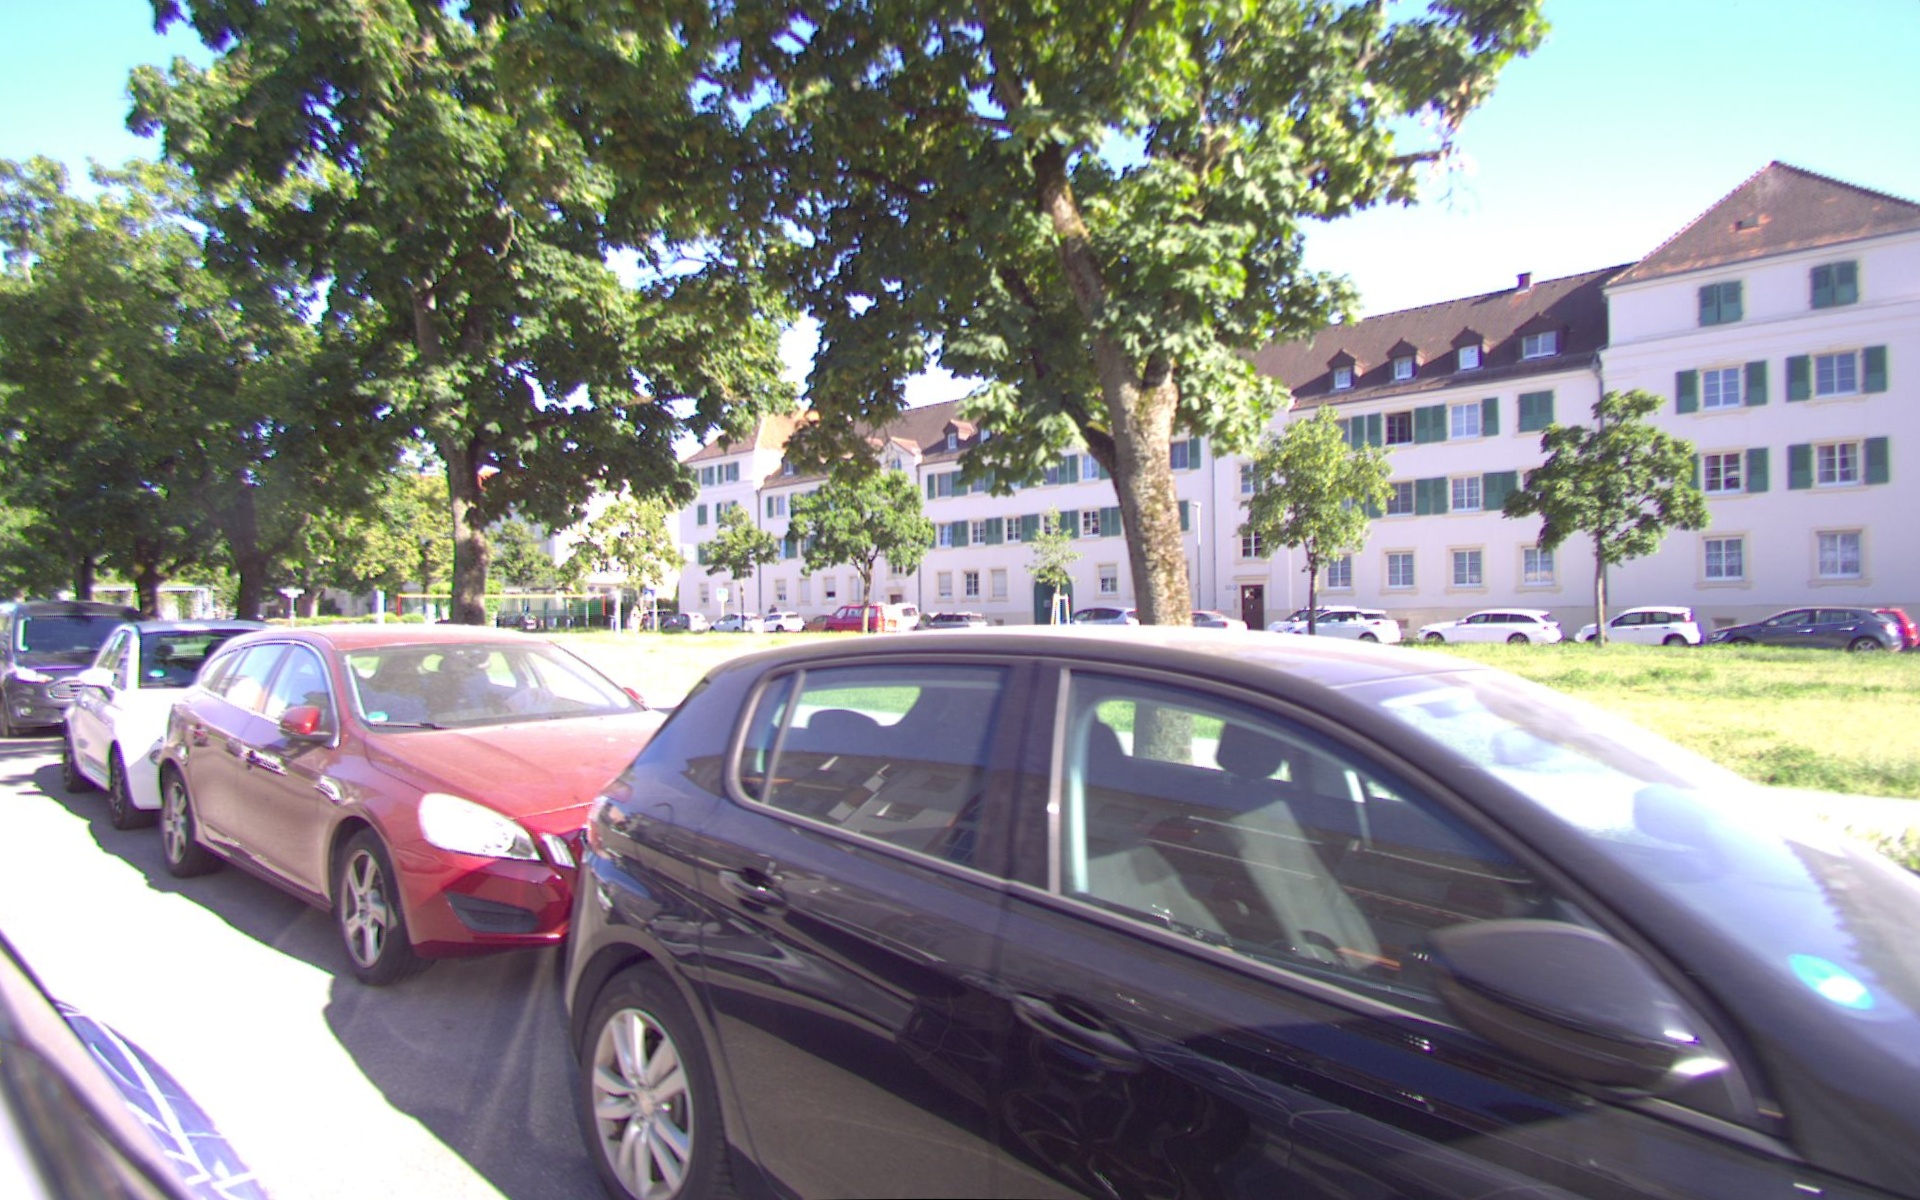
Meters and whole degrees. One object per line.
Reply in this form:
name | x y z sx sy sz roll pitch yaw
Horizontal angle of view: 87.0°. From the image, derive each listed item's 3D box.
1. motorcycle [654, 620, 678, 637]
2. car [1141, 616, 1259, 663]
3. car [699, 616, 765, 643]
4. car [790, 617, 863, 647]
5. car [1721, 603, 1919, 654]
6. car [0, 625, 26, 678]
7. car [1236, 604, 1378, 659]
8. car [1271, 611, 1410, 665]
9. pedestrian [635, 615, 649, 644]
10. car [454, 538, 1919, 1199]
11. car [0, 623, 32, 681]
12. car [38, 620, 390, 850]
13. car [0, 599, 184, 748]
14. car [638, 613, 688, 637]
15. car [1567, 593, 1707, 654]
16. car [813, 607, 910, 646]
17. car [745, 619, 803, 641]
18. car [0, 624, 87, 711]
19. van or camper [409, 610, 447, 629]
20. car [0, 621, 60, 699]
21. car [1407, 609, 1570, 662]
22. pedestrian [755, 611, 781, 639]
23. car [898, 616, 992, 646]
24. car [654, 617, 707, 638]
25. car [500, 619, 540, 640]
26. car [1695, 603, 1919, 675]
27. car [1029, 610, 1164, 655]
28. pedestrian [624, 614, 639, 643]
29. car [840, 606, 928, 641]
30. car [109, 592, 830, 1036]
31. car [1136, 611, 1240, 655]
motorcycle | -23.801 2.300 81.987 2.143 1.315 0.807 -1 -1 41
car | 9.651 1.556 40.786 4.009 1.763 2.292 -2 -1 43
car | -13.895 1.786 61.681 4.233 1.595 1.770 -1 -1 41
car | -8.504 2.025 64.267 4.641 1.777 1.973 -1 -1 40
car | 27.337 0.895 32.094 4.956 1.496 1.972 -1 -2 41
car | -29.732 1.517 30.255 5.153 1.528 1.973 -1 -2 40
car | 14.921 1.332 43.647 5.254 2.233 2.505 -1 -1 40
car | 13.872 1.338 36.987 4.254 1.834 2.213 -1 -1 40
pedestrian | -18.813 1.743 59.876 0.537 1.698 0.674 0 -1 -43
car | 0.859 0.757 2.112 4.468 1.531 1.854 -1 -3 41
car | -26.040 1.350 26.789 3.804 1.429 1.859 0 -1 43
car | -6.344 0.944 8.472 3.683 1.504 1.570 -1 -3 41
car | -12.790 0.903 14.478 4.990 1.798 1.844 -1 -1 42
car | -26.380 2.209 89.964 2.043 1.970 3.761 -2 -1 44
car | 23.673 0.802 35.466 3.896 2.029 1.648 -1 -1 42
car | -5.334 1.395 54.358 5.256 1.999 2.197 -1 -1 42
car | -12.468 1.999 67.785 3.998 1.366 1.750 -2 -1 41
car | -17.297 1.177 18.562 4.087 1.439 1.521 -1 -1 43
van or camper | -56.408 2.057 107.339 4.374 2.029 2.243 -1 0 43
car | -21.904 1.308 22.811 4.757 1.638 2.003 -1 -2 43
car | 20.136 1.320 38.713 5.157 1.900 2.131 -1 -1 42
pedestrian | -13.656 1.796 71.991 1.161 1.978 1.327 -1 -1 36
car | -0.834 1.636 53.491 4.956 1.496 1.972 -1 -2 41
car | -17.982 1.773 65.131 3.513 1.343 1.633 -1 -1 41
car | -40.345 2.687 92.725 4.000 1.807 1.928 -2 -1 43
car | 23.511 1.046 28.230 4.702 1.834 2.136 -1 -1 40
car | 5.898 1.382 44.184 5.454 1.834 2.423 -2 -1 44
pedestrian | -19.231 1.674 59.314 0.750 1.698 0.537 -2 -1 44
car | -4.592 1.427 60.806 5.253 1.999 2.198 -1 -1 40
car | -2.978 0.764 5.574 4.662 1.503 1.738 -1 -1 38
car | 10.626 1.526 47.311 4.164 1.919 2.240 -1 -1 41
